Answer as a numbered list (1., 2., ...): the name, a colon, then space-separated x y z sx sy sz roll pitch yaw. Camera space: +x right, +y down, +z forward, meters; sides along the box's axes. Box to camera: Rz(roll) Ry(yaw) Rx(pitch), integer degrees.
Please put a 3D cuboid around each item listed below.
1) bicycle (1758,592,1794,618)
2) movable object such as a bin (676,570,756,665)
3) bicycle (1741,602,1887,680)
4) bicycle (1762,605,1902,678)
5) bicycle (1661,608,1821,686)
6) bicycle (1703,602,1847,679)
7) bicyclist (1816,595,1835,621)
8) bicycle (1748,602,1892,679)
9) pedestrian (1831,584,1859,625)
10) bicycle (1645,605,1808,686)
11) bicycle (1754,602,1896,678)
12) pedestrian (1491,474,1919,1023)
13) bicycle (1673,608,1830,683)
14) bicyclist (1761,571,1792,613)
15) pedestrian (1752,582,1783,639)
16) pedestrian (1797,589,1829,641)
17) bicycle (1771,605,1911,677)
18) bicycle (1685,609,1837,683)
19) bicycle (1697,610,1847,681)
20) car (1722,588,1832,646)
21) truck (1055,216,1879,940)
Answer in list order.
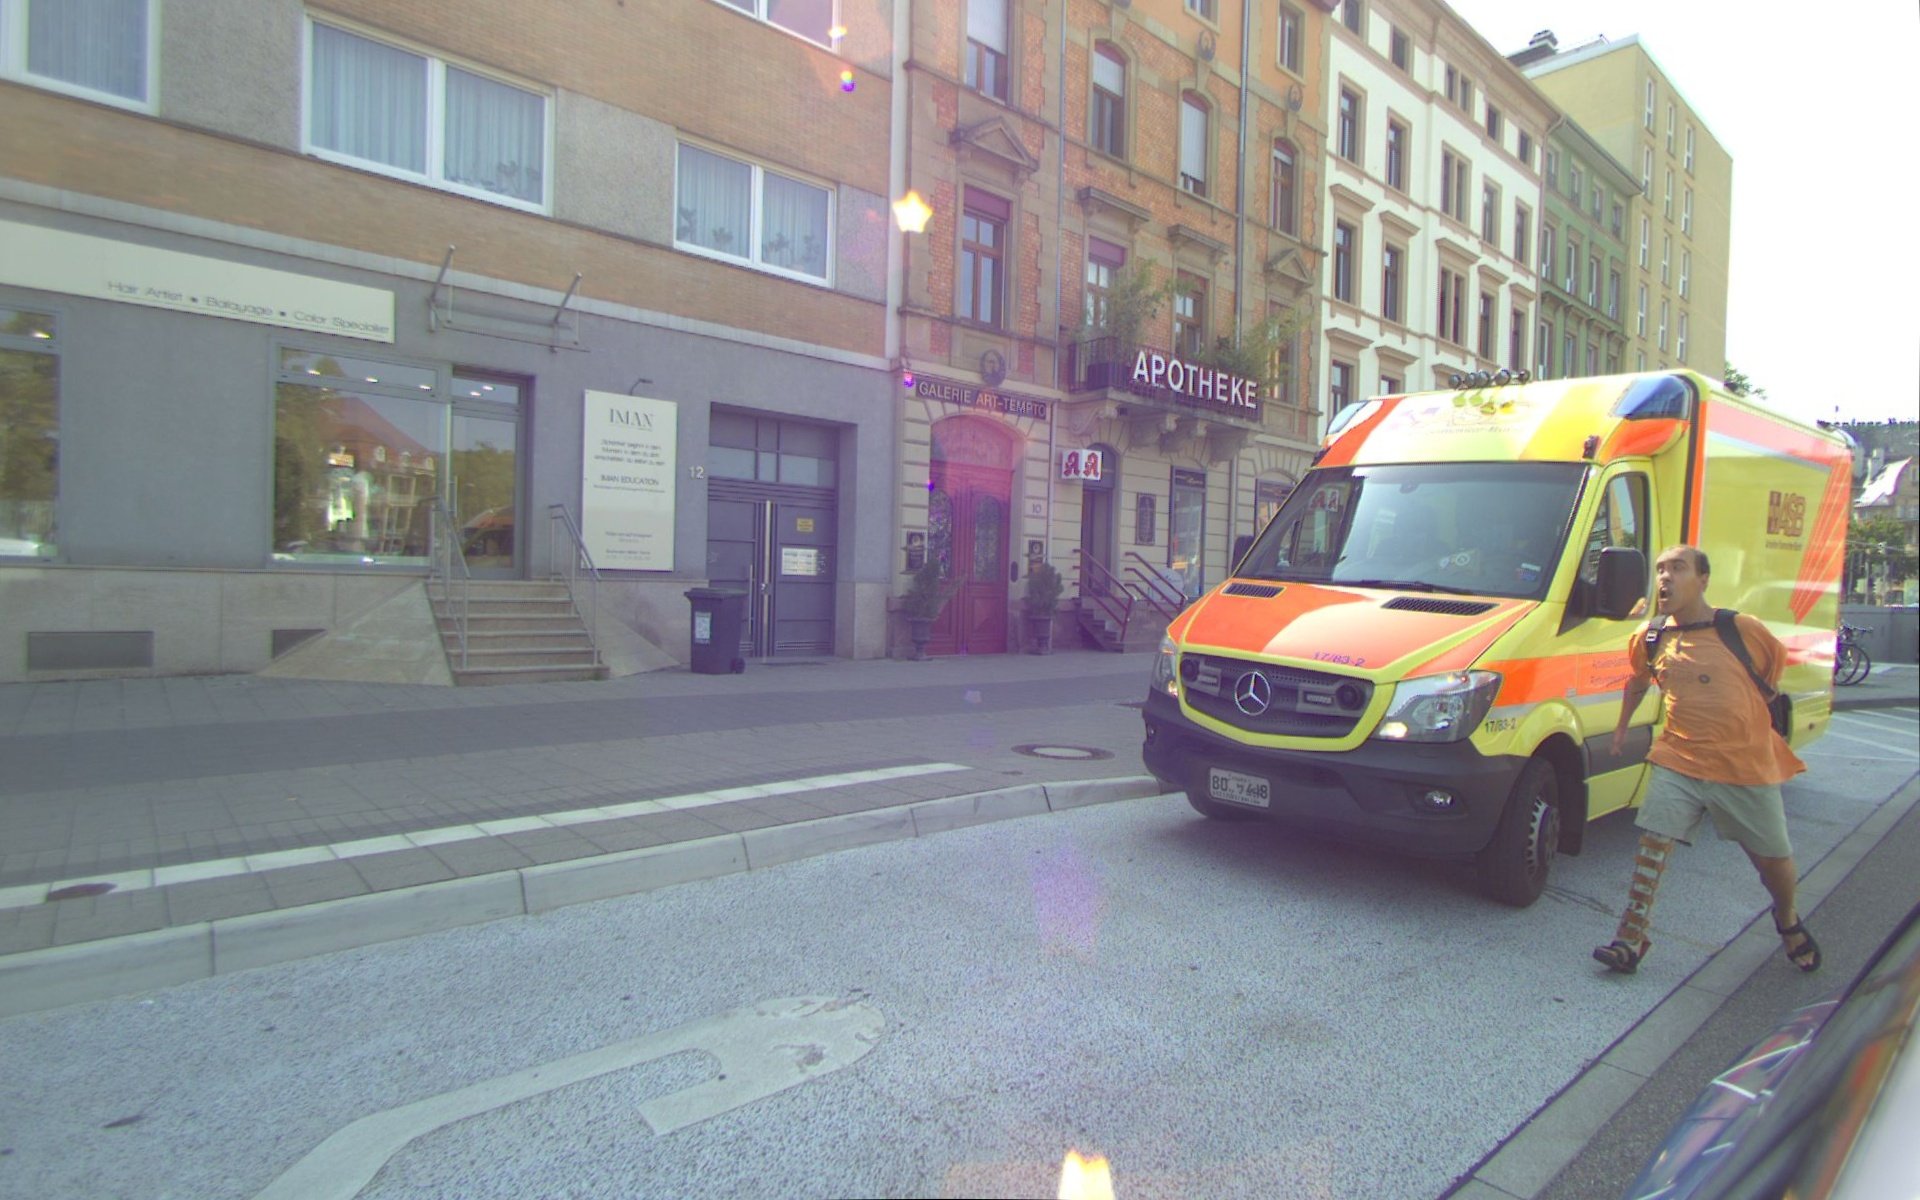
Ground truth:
1. bicycle: 32.181 0.204 39.913 1.965 0.965 0.720 1 1 -40
2. movable object such as a bin: -3.055 0.204 12.709 0.640 1.118 0.723 3 2 24
3. bicycle: 14.380 0.659 17.092 0.427 1.219 1.841 1 0 -40
4. bicycle: 15.423 0.706 17.952 0.427 1.219 1.841 1 0 -40
5. bicycle: 11.847 0.679 15.402 0.646 1.074 1.841 0 0 -40
6. bicycle: 13.794 0.650 17.169 0.539 1.219 1.841 1 0 -40
7. bicyclist: 65.350 0.613 76.403 0.650 1.926 0.861 0 0 -12
8. bicycle: 14.718 0.666 17.364 0.427 1.219 1.841 1 0 -40
9. pedestrian: 36.358 0.180 41.597 0.782 1.648 0.646 1 2 -36
10. bicycle: 11.201 0.634 14.837 0.686 1.089 1.806 0 0 -41
11. bicycle: 15.058 0.670 17.657 0.427 1.235 1.841 1 0 -40
12. pedestrian: 2.932 0.477 3.980 1.214 1.763 0.968 0 -1 -29
13. bicycle: 12.363 0.681 15.853 0.646 1.066 1.841 0 0 -40
14. bicyclist: 32.185 -0.318 39.906 1.083 1.606 0.720 1 1 -40
15. pedestrian: 26.344 0.334 32.997 0.686 1.780 0.785 3 2 41
16. pedestrian: 28.284 0.492 33.566 0.783 1.648 0.645 0 2 -43
17. bicycle: 15.899 0.707 18.302 0.626 1.219 1.841 0 0 -40
18. bicycle: 12.854 0.708 16.287 0.646 1.074 1.841 0 0 -40
19. bicycle: 13.376 0.714 16.721 0.646 1.070 1.841 0 0 -40
20. car: 23.504 0.460 29.084 3.864 1.444 1.666 0 4 -40
21. truck: 3.763 -0.154 6.758 6.222 2.803 2.336 0 4 -38
